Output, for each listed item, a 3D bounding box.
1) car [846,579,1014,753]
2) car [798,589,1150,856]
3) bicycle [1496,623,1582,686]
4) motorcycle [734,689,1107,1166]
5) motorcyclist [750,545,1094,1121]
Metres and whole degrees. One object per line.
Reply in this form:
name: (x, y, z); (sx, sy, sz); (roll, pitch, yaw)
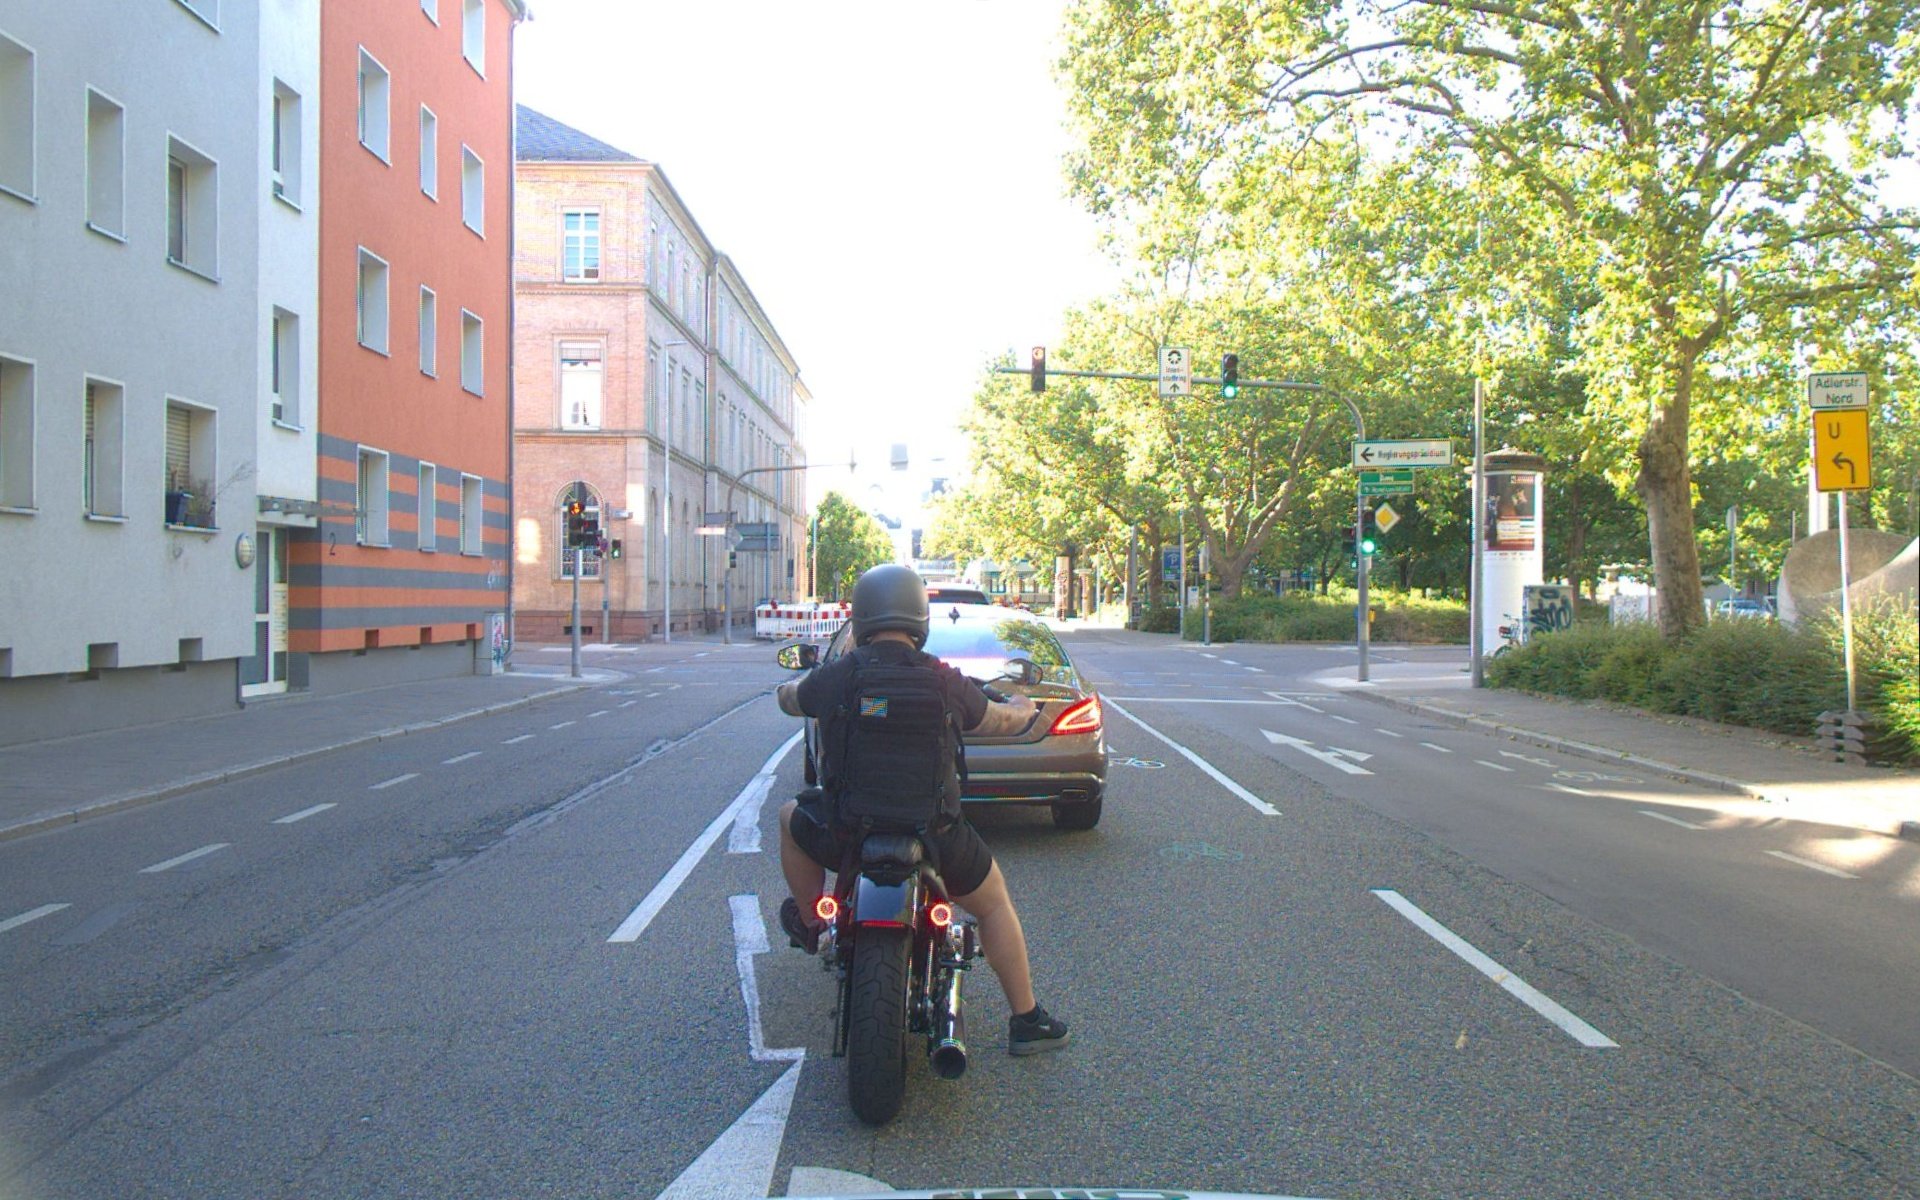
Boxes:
car: (-0.338, 0.612, 17.744); (1.580, 1.636, 4.327); (0, 0, -2)
car: (-0.116, 0.677, 11.581); (1.909, 1.498, 4.355); (0, 0, -7)
bicycle: (9.718, 0.919, 27.778); (1.324, 1.041, 0.363); (0, 0, 0)
motorcycle: (-0.120, 0.919, 5.541); (0.969, 1.097, 2.451); (0, 0, -1)
motorcyclist: (-0.115, 0.656, 5.387); (0.969, 1.625, 1.403); (0, 0, -1)
